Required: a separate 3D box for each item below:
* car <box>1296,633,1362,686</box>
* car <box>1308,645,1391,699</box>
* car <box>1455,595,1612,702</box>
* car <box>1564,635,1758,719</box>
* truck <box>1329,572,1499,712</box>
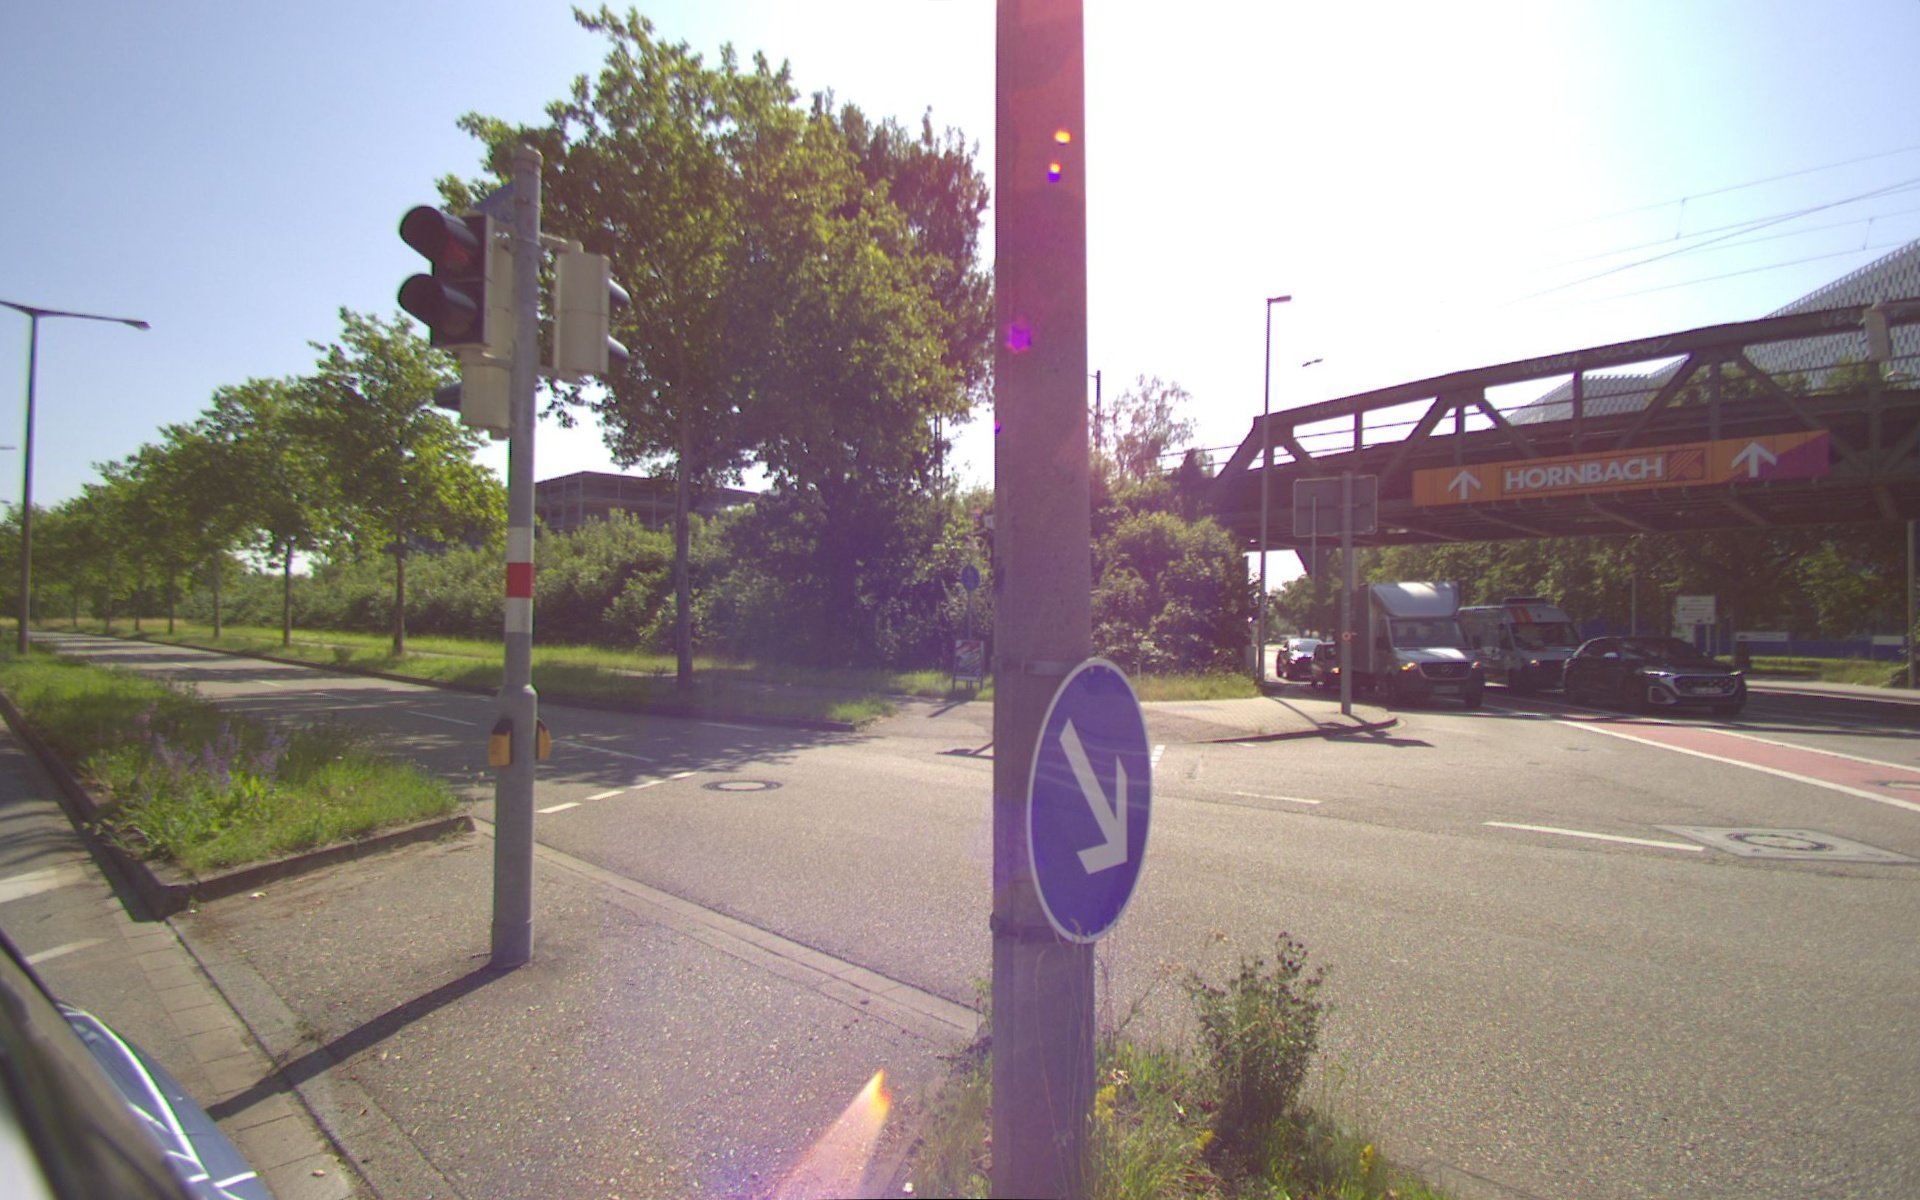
[{"bbox_3d":[14.298,2.263,39.422,1.872,1.763,3.984,0,0,12],"label":"car"},{"bbox_3d":[12.522,2.282,32.804,1.872,1.400,4.222,0,0,12],"label":"car"},{"bbox_3d":[16.802,1.387,30.102,2.151,2.834,6.178,0,-2,11],"label":"car"},{"bbox_3d":[15.134,1.632,22.151,1.883,1.659,3.988,0,-3,9],"label":"car"},{"bbox_3d":[11.446,1.107,26.195,2.193,3.130,6.845,0,-3,9],"label":"truck"}]
